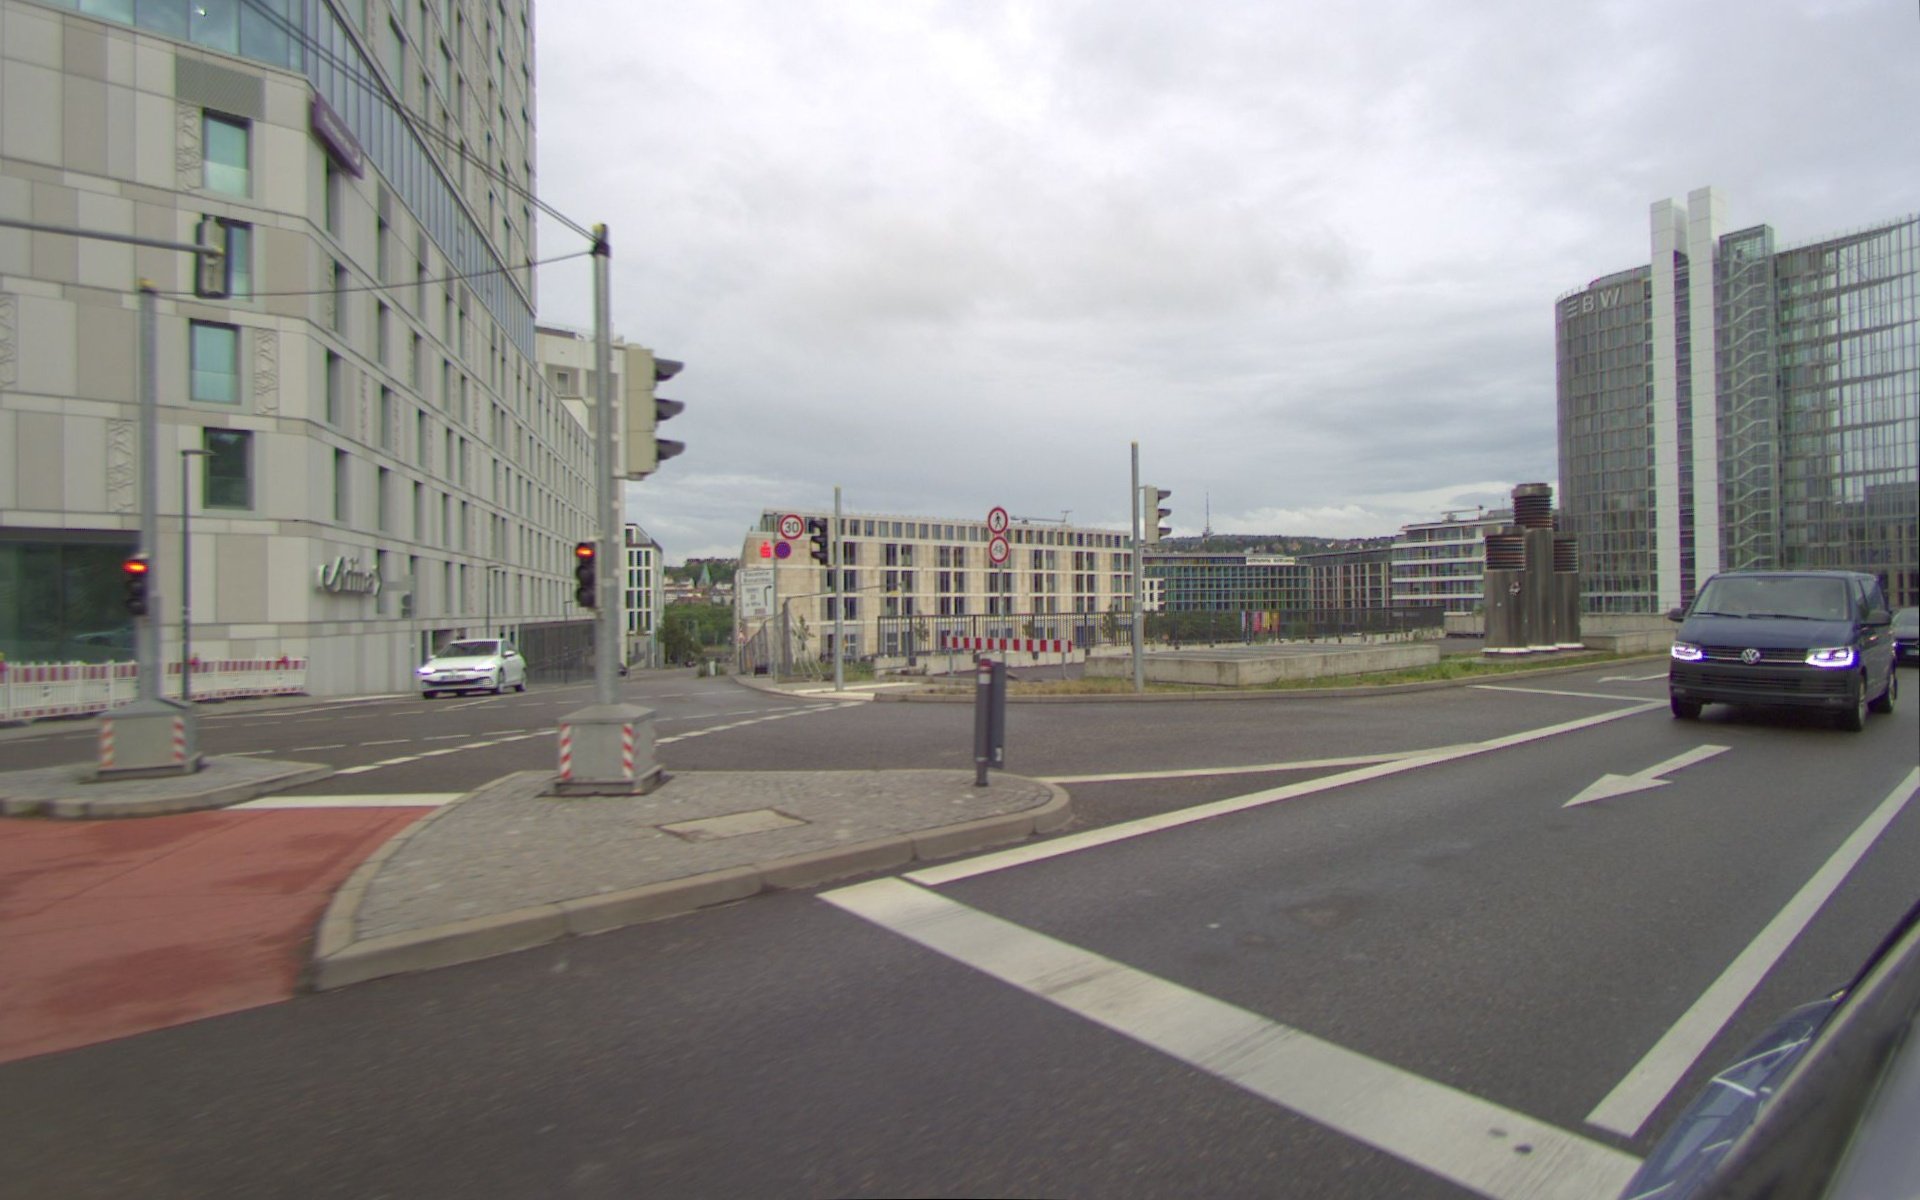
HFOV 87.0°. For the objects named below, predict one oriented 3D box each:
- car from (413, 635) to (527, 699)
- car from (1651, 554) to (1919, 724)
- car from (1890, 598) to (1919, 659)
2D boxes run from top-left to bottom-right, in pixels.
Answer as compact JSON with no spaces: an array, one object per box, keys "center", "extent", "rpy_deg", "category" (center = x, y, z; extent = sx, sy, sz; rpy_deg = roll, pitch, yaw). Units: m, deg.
[{"center":[-12.222,1.632,25.506],"extent":[1.707,1.452,4.006],"rpy_deg":[-1,-2,-12],"category":"car"},{"center":[11.349,0.390,13.732],"extent":[4.953,1.906,2.036],"rpy_deg":[-1,1,-40],"category":"car"},{"center":[23.730,0.677,24.245],"extent":[4.083,1.393,1.726],"rpy_deg":[1,-1,-41],"category":"car"}]
